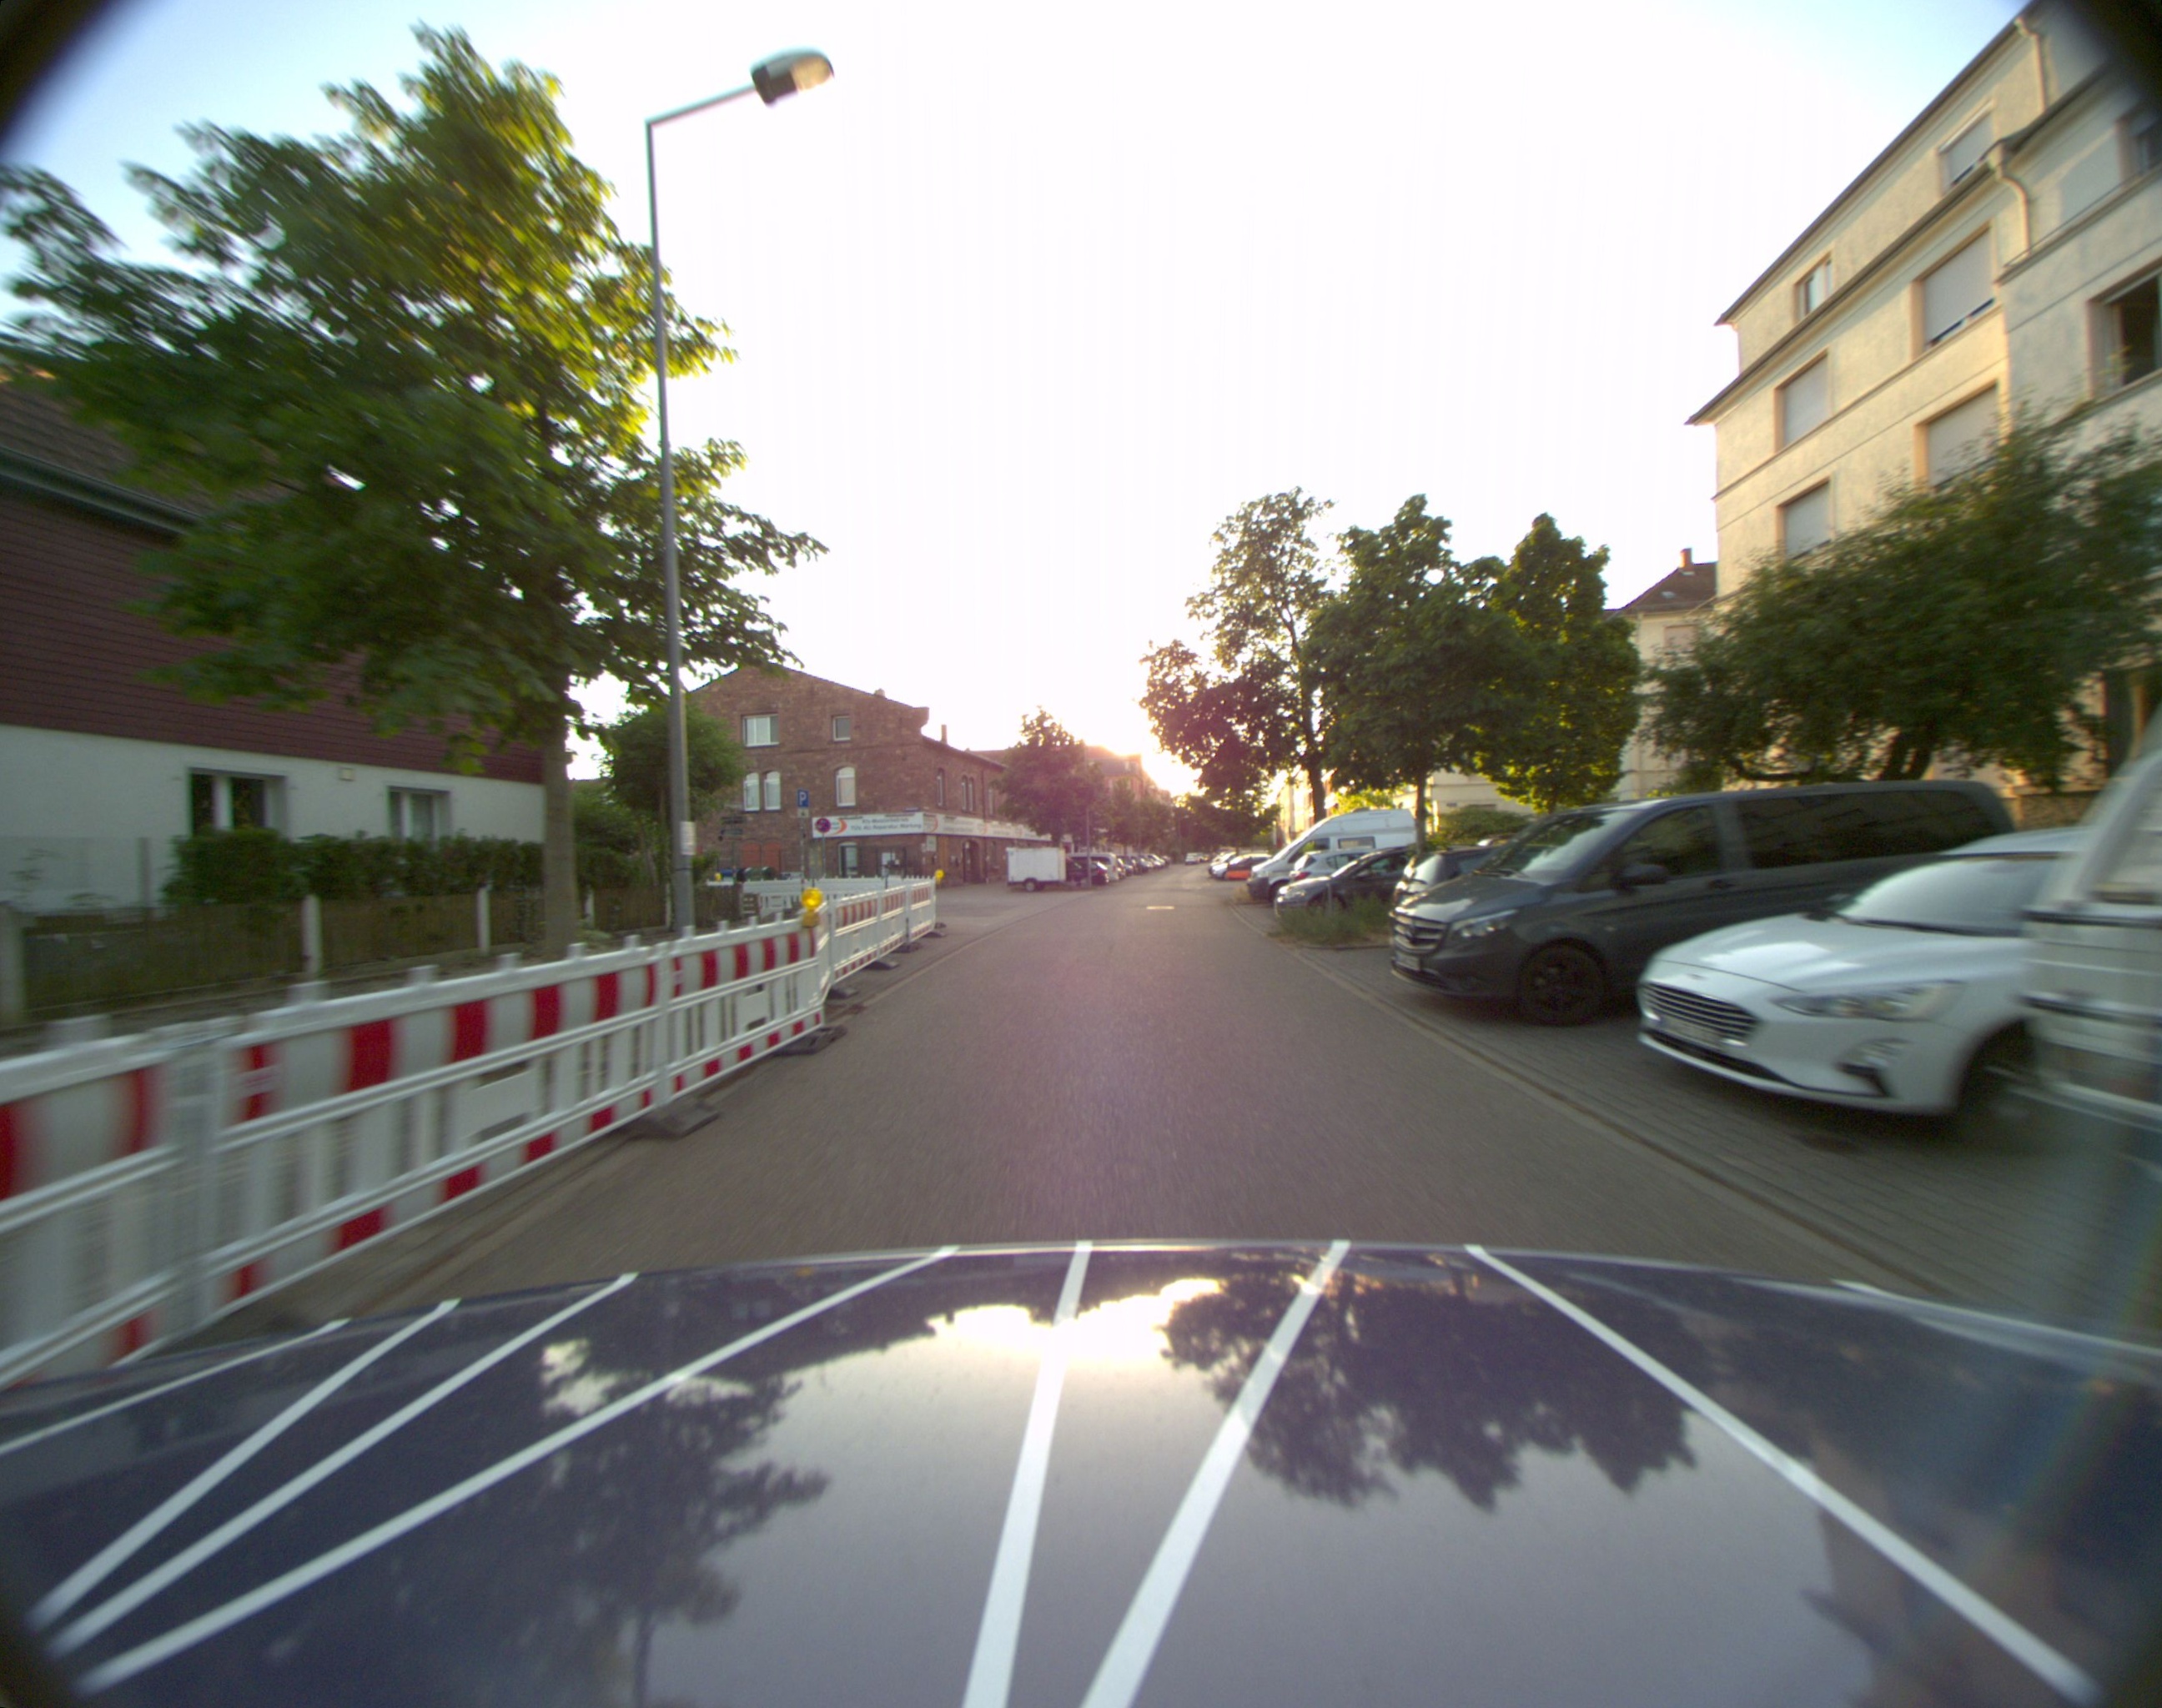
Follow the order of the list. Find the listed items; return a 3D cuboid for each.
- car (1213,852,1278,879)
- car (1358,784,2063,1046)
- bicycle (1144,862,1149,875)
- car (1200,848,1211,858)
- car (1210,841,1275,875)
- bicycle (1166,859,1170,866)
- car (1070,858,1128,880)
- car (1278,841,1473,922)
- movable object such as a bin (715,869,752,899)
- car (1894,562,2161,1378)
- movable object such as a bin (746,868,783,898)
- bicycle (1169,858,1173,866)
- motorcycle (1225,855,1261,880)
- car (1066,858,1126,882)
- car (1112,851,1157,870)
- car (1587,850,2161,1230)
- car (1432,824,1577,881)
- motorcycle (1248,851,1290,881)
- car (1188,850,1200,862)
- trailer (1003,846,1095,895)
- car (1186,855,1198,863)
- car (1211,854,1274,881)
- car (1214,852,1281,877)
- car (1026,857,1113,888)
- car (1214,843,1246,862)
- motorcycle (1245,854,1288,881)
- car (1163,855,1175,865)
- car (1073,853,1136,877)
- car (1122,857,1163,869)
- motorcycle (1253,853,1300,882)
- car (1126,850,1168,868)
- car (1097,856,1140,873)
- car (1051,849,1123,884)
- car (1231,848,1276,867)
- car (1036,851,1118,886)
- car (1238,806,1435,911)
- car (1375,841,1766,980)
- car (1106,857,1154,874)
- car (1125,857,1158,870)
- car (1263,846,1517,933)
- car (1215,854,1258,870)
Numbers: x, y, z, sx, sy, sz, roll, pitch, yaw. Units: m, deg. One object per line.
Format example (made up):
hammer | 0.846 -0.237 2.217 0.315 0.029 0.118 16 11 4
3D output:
car | 10.671 0.733 49.421 3.994 1.574 1.730 -3 0 11
car | 5.265 0.490 6.952 4.684 1.862 2.000 -3 0 2
bicycle | 6.507 1.436 75.075 0.309 1.185 1.764 -2 0 9
car | 24.824 -0.189 151.191 1.997 2.002 4.003 -2 0 9
car | 12.092 0.315 56.863 4.520 2.057 2.002 -5 -2 13
bicycle | 12.000 1.179 104.916 0.357 1.018 1.973 -2 0 9
car | 1.345 1.086 55.842 3.994 1.609 1.896 0 0 8
car | 6.663 0.616 17.506 3.811 1.513 1.653 -4 0 5
movable object such as a bin | -17.915 1.538 39.180 1.288 1.435 1.060 -2 0 12
car | 5.425 0.261 1.884 4.513 2.416 2.000 -2 0 2
movable object such as a bin | -16.140 1.477 38.794 1.262 1.435 1.098 -2 0 12
bicycle | 12.421 1.133 104.876 0.357 1.093 1.973 -2 0 9
motorcycle | 9.638 0.794 45.272 1.990 1.428 0.722 -2 0 4
car | 1.086 1.123 53.896 3.953 1.556 1.822 -3 0 7
car | 5.846 0.742 83.381 4.594 1.851 2.014 2 1 12
car | 5.488 0.750 4.044 4.185 1.417 2.000 -3 0 2
car | 16.762 -0.036 30.312 4.586 2.002 2.001 -3 0 8
motorcycle | 10.645 0.673 43.117 2.234 1.573 0.774 -3 0 12
car | 19.596 0.344 131.311 1.938 1.893 4.058 -2 0 9
trailer | -1.507 0.783 36.612 3.994 2.174 2.001 -3 0 9
car | 18.372 0.813 125.680 1.731 1.367 3.766 -2 0 9
car | 9.957 0.846 46.975 3.720 1.497 1.691 -3 0 10
car | 11.392 0.690 52.245 4.334 1.397 1.853 -4 0 11
car | -0.588 0.989 41.027 4.435 1.490 1.774 -3 0 9
car | 21.590 -0.170 109.841 4.409 2.542 1.933 -3 1 12
motorcycle | 10.218 0.741 41.943 2.234 1.428 0.774 -3 0 12
car | 14.658 0.936 126.689 1.798 1.515 4.003 -2 0 9
car | 1.948 0.892 61.041 4.795 1.743 2.019 1 -1 9
car | 7.551 1.132 93.111 4.729 1.487 2.002 0 0 10
motorcycle | 10.476 0.727 40.806 2.386 1.428 0.882 -3 0 12
car | 8.588 0.693 98.679 4.967 2.089 2.153 -3 1 15
car | 3.657 1.006 73.880 3.993 1.537 1.846 1 1 10
car | 0.378 0.767 45.753 3.994 1.892 2.001 -3 0 8
car | 19.171 0.412 84.375 4.862 2.043 2.002 -1 0 14
car | -0.175 0.815 42.978 4.309 1.788 1.905 -3 0 9
car | 6.876 0.126 20.924 4.741 2.554 2.001 -3 0 6
car | 5.938 0.663 9.580 3.777 1.430 1.656 -3 0 3
car | 5.058 1.137 78.546 4.702 1.622 2.002 1 0 12
car | 7.168 1.129 90.525 3.792 1.488 1.682 0 0 9
car | 5.834 0.663 14.798 4.252 1.386 1.685 -3 0 7
car | 16.340 0.846 79.958 4.147 1.408 1.739 -4 0 6
